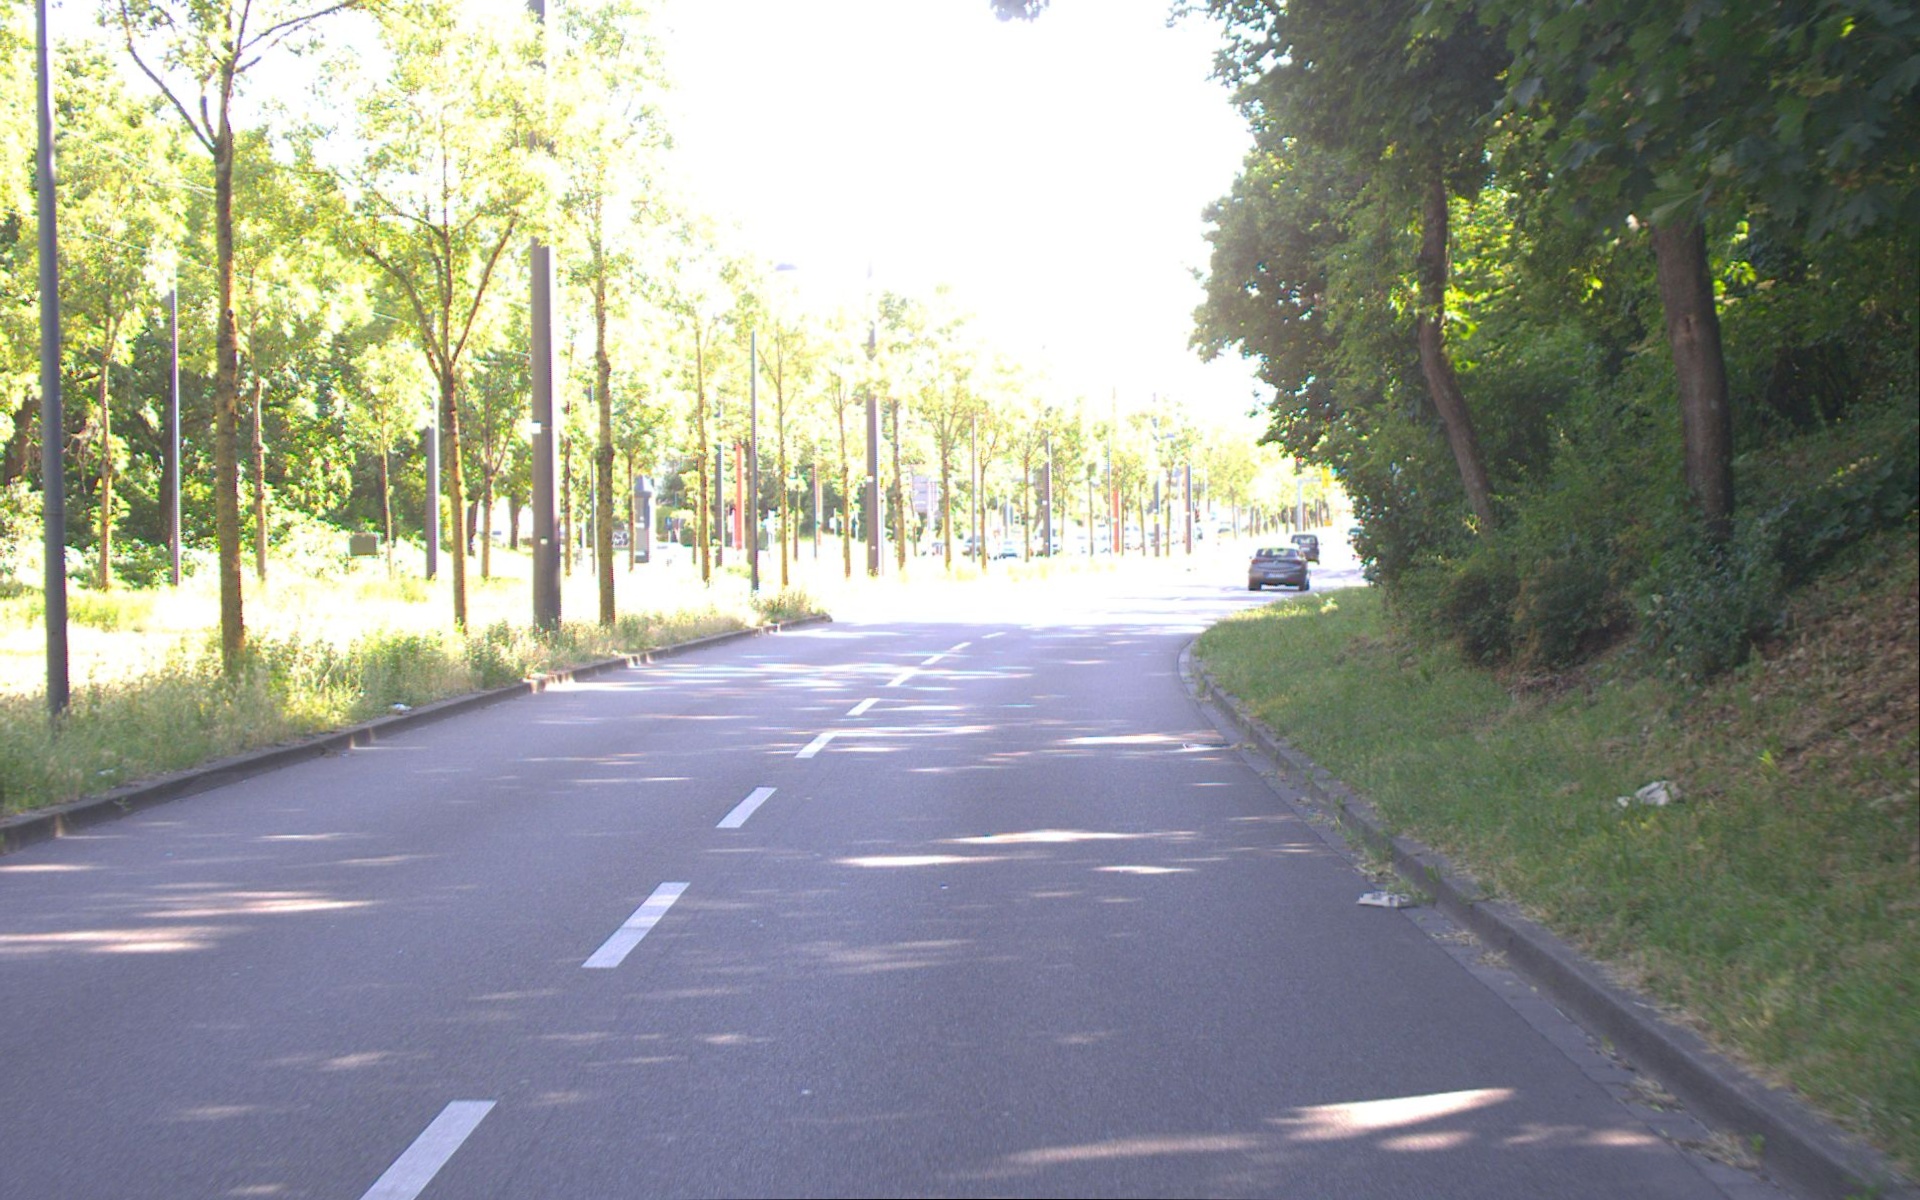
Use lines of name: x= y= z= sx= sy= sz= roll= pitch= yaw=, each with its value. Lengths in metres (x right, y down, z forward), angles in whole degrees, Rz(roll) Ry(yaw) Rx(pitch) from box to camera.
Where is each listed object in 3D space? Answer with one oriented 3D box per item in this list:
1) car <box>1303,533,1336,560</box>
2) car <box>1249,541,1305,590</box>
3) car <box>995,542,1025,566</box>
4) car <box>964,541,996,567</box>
car: x=20.369 y=-3.038 z=194.457 sx=1.635 sy=1.493 sz=4.233 roll=0 pitch=1 yaw=9
car: x=9.950 y=-1.098 z=107.743 sx=1.634 sy=1.493 sz=4.233 roll=0 pitch=1 yaw=7
car: x=3.559 y=-3.281 z=245.120 sx=1.631 sy=1.675 sz=4.191 roll=0 pitch=1 yaw=8
car: x=1.341 y=-3.075 z=230.248 sx=1.631 sy=1.675 sz=4.191 roll=0 pitch=1 yaw=7
